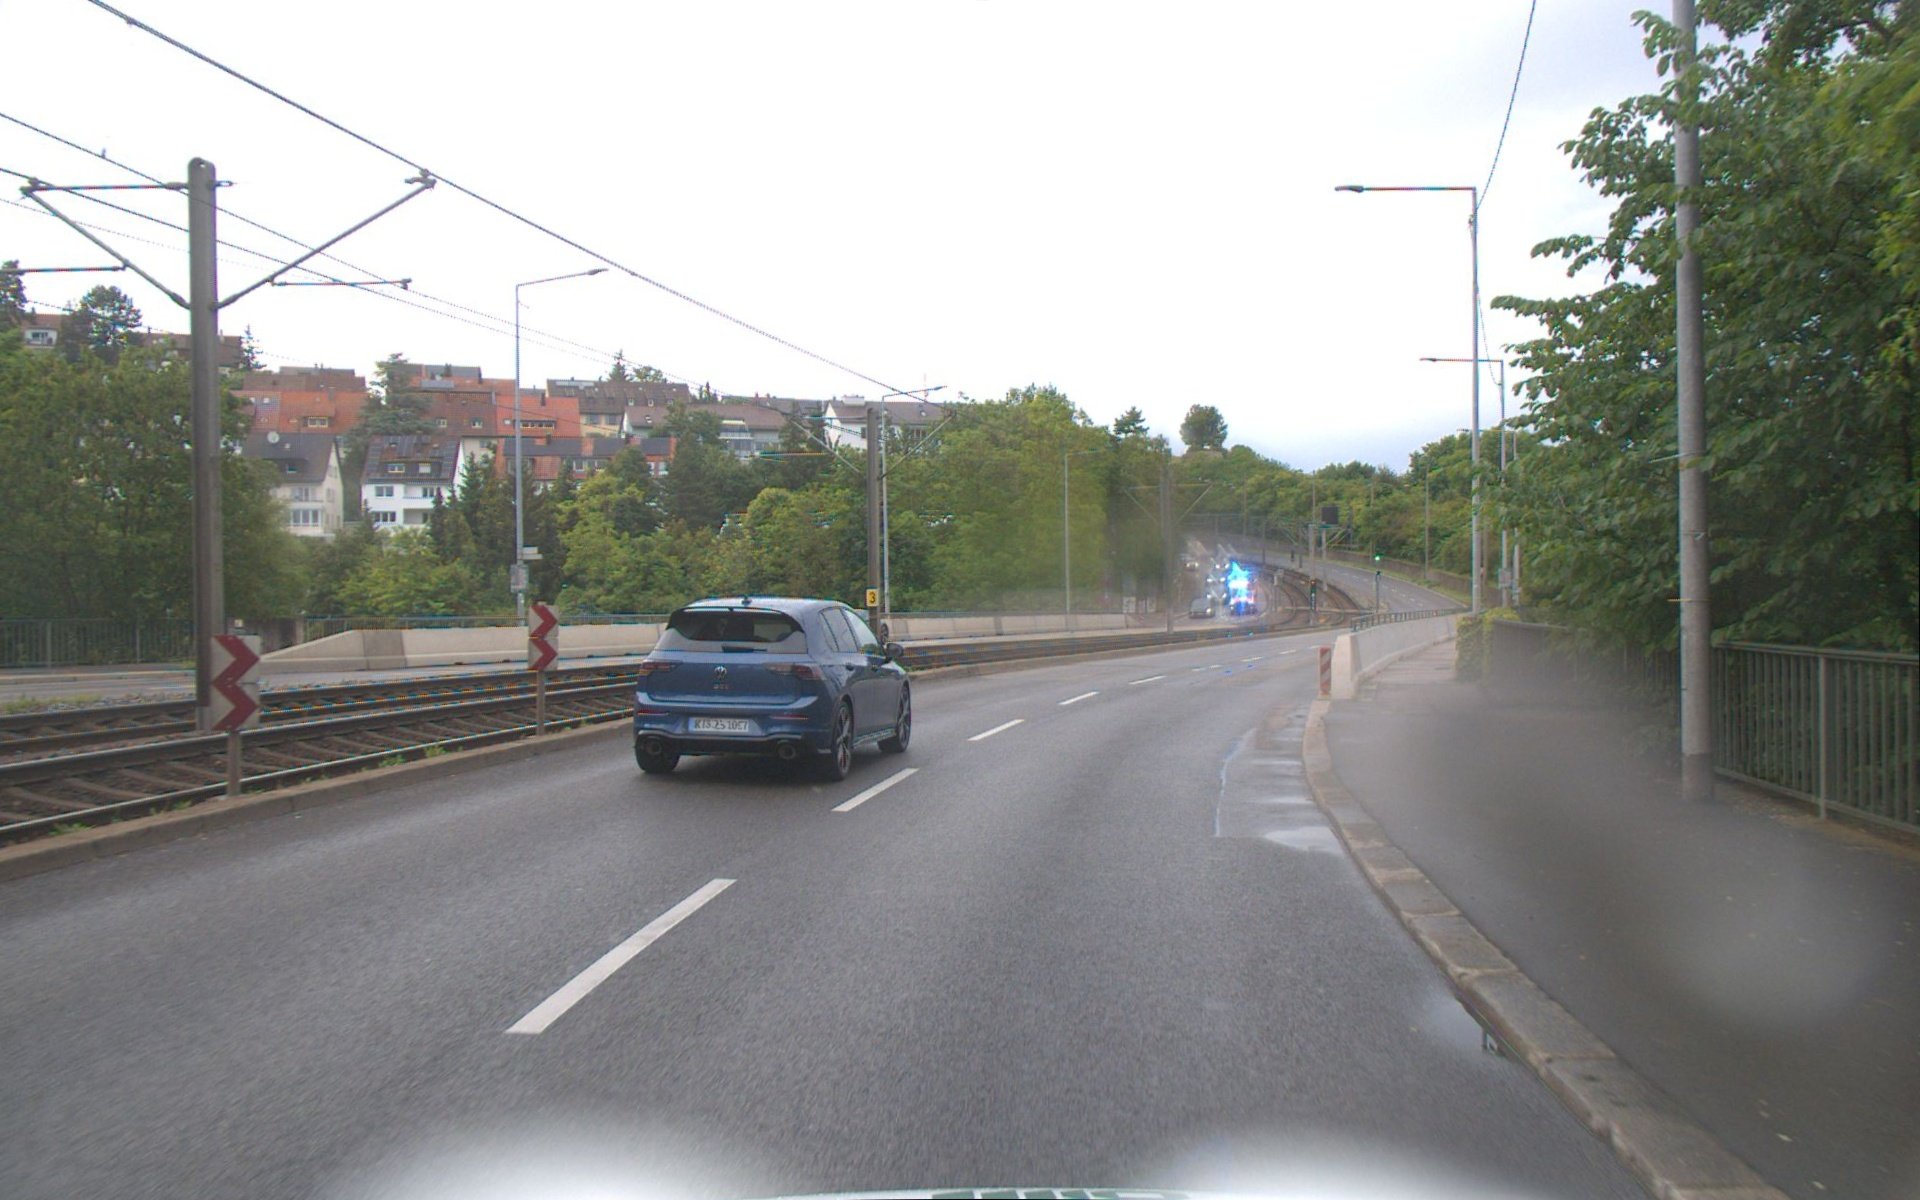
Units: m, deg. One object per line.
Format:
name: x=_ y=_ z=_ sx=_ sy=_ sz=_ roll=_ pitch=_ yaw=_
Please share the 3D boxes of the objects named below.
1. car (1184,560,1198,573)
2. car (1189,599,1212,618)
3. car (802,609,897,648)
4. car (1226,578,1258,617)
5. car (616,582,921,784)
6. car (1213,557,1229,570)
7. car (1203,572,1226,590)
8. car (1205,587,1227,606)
car: x=29.599 y=-4.302 z=211.870 sx=1.782 sy=1.541 sz=4.532 roll=-1 pitch=-1 yaw=8
car: x=19.493 y=0.673 z=133.996 sx=1.778 sy=1.461 sz=4.744 roll=0 pitch=0 yaw=8
car: x=-3.990 y=1.034 z=60.628 sx=1.798 sy=1.337 sz=4.620 roll=-2 pitch=-1 yaw=19
car: x=23.268 y=-0.183 z=136.288 sx=2.338 sy=3.170 sz=6.362 roll=0 pitch=0 yaw=11
car: x=-1.531 y=0.645 z=14.695 sx=1.726 sy=1.527 sz=4.003 roll=1 pitch=0 yaw=8
car: x=32.205 y=-4.471 z=204.245 sx=1.568 sy=1.519 sz=3.018 roll=-2 pitch=1 yaw=1
car: x=27.535 y=-2.055 z=179.041 sx=1.927 sy=1.625 sz=5.186 roll=-1 pitch=-2 yaw=4
car: x=23.429 y=-0.328 z=151.599 sx=1.856 sy=1.625 sz=4.736 roll=-2 pitch=0 yaw=7
